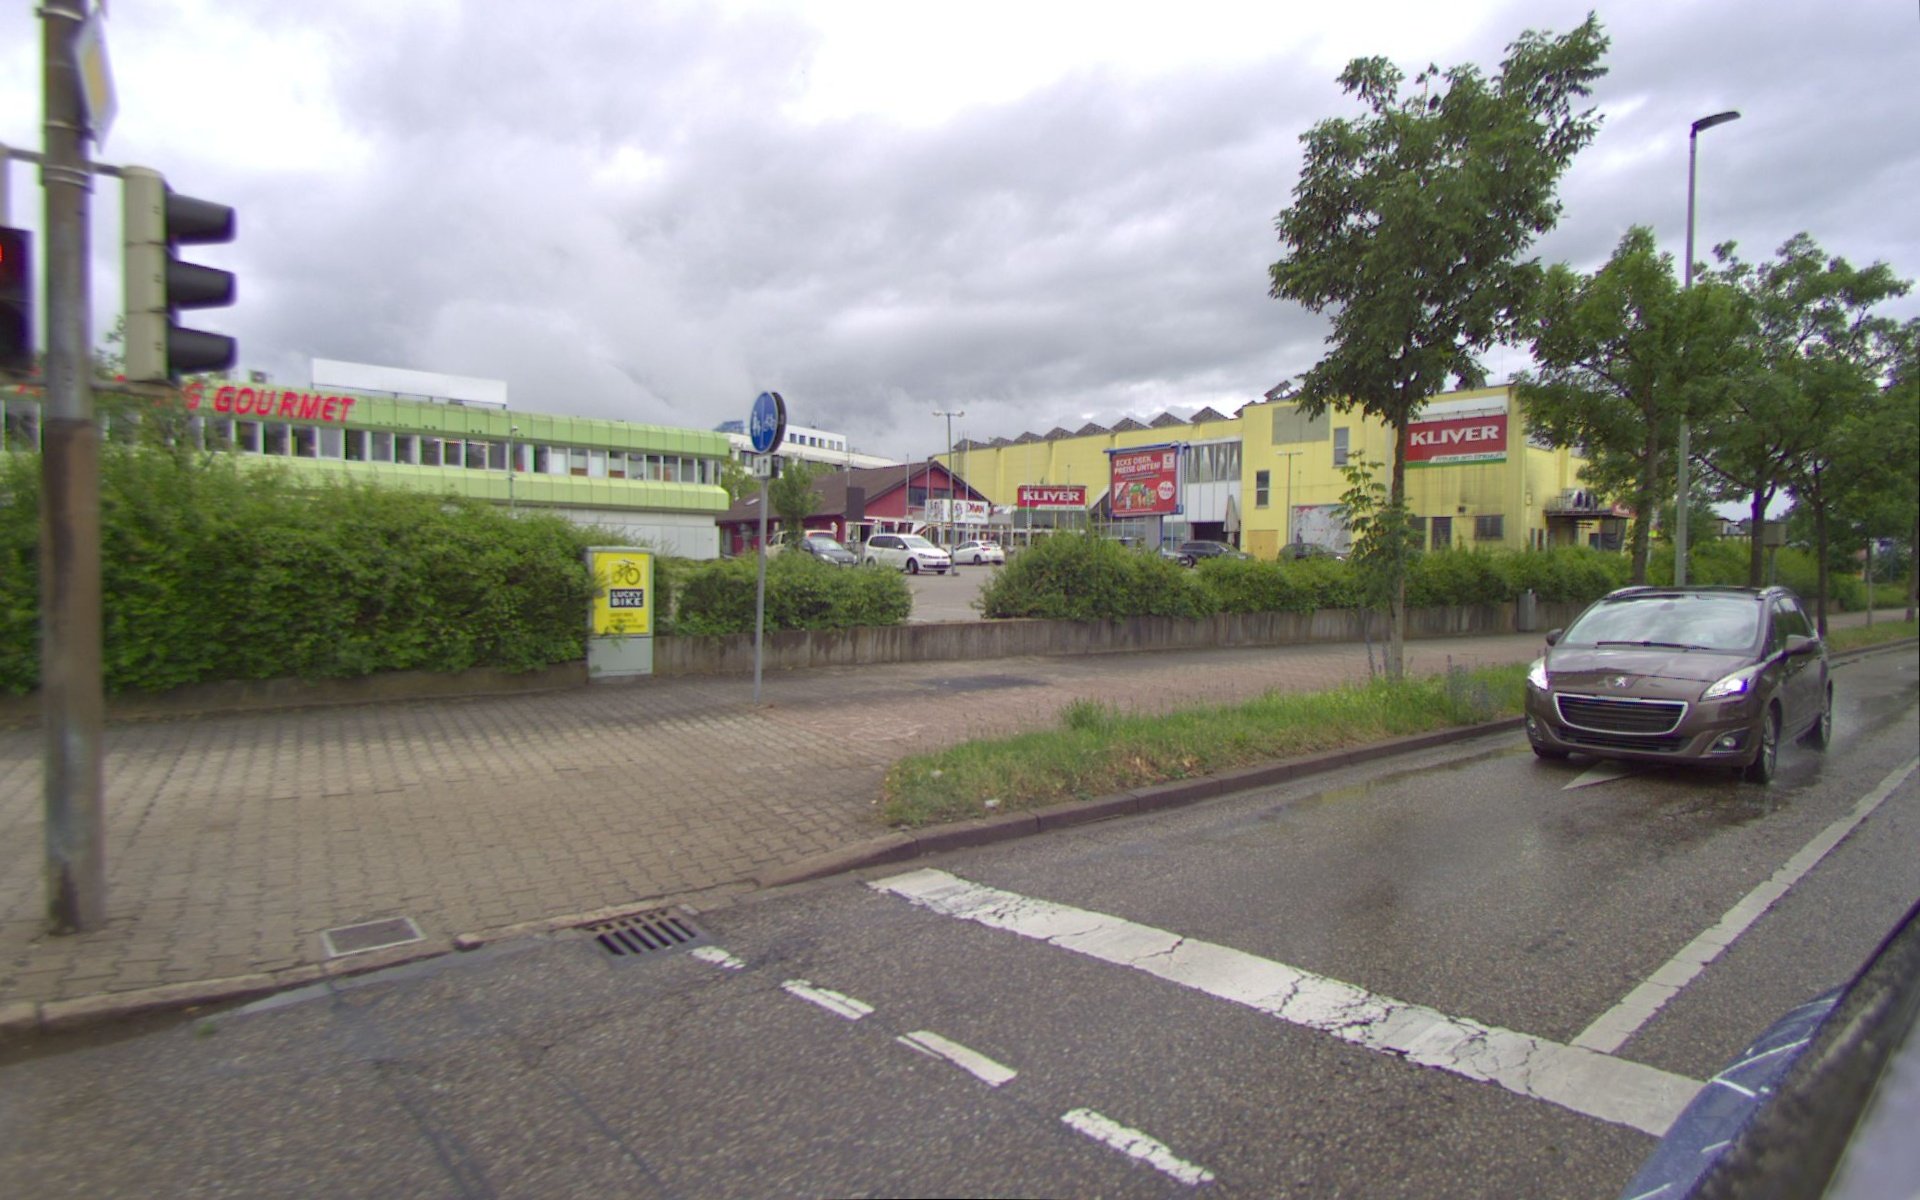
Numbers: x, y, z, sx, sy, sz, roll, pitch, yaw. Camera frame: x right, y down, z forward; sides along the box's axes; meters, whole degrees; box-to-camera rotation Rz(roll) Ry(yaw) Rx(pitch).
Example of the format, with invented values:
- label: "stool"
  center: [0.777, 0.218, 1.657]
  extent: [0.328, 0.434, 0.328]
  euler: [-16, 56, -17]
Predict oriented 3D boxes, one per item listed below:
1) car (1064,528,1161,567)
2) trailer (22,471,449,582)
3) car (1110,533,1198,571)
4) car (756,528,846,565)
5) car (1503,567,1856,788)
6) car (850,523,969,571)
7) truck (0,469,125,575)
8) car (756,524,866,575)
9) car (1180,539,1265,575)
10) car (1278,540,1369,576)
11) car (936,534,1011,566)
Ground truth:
- label: "car"
  center: [7.336, -2.534, 48.978]
  extent: [1.966, 1.760, 4.378]
  euler: [0, 2, -42]
- label: "trailer"
  center: [-30.392, -2.845, 43.686]
  extent: [14.548, 3.764, 3.157]
  euler: [1, -1, -40]
- label: "car"
  center: [9.738, -2.415, 50.940]
  extent: [1.966, 1.801, 3.994]
  euler: [0, 2, -42]
- label: "car"
  center: [-8.365, -2.792, 53.020]
  extent: [2.340, 1.801, 4.977]
  euler: [0, 2, -42]
- label: "car"
  center: [6.963, 0.549, 9.608]
  extent: [4.392, 1.645, 1.730]
  euler: [-1, 1, -41]
- label: "car"
  center: [-2.162, -2.191, 42.207]
  extent: [2.340, 1.801, 4.977]
  euler: [0, 2, -42]
- label: "truck"
  center: [-35.669, -2.938, 39.200]
  extent: [5.045, 3.764, 3.158]
  euler: [1, -1, -40]
- label: "car"
  center: [-5.725, -1.904, 38.511]
  extent: [1.966, 1.801, 4.574]
  euler: [0, 2, -42]
- label: "car"
  center: [13.984, -2.280, 54.072]
  extent: [1.966, 1.801, 3.994]
  euler: [0, 2, -42]
- label: "car"
  center: [18.798, -2.173, 52.450]
  extent: [1.966, 1.801, 3.994]
  euler: [0, 2, -42]
- label: "car"
  center: [0.748, -2.927, 59.775]
  extent: [1.965, 1.760, 4.378]
  euler: [0, 2, -41]
